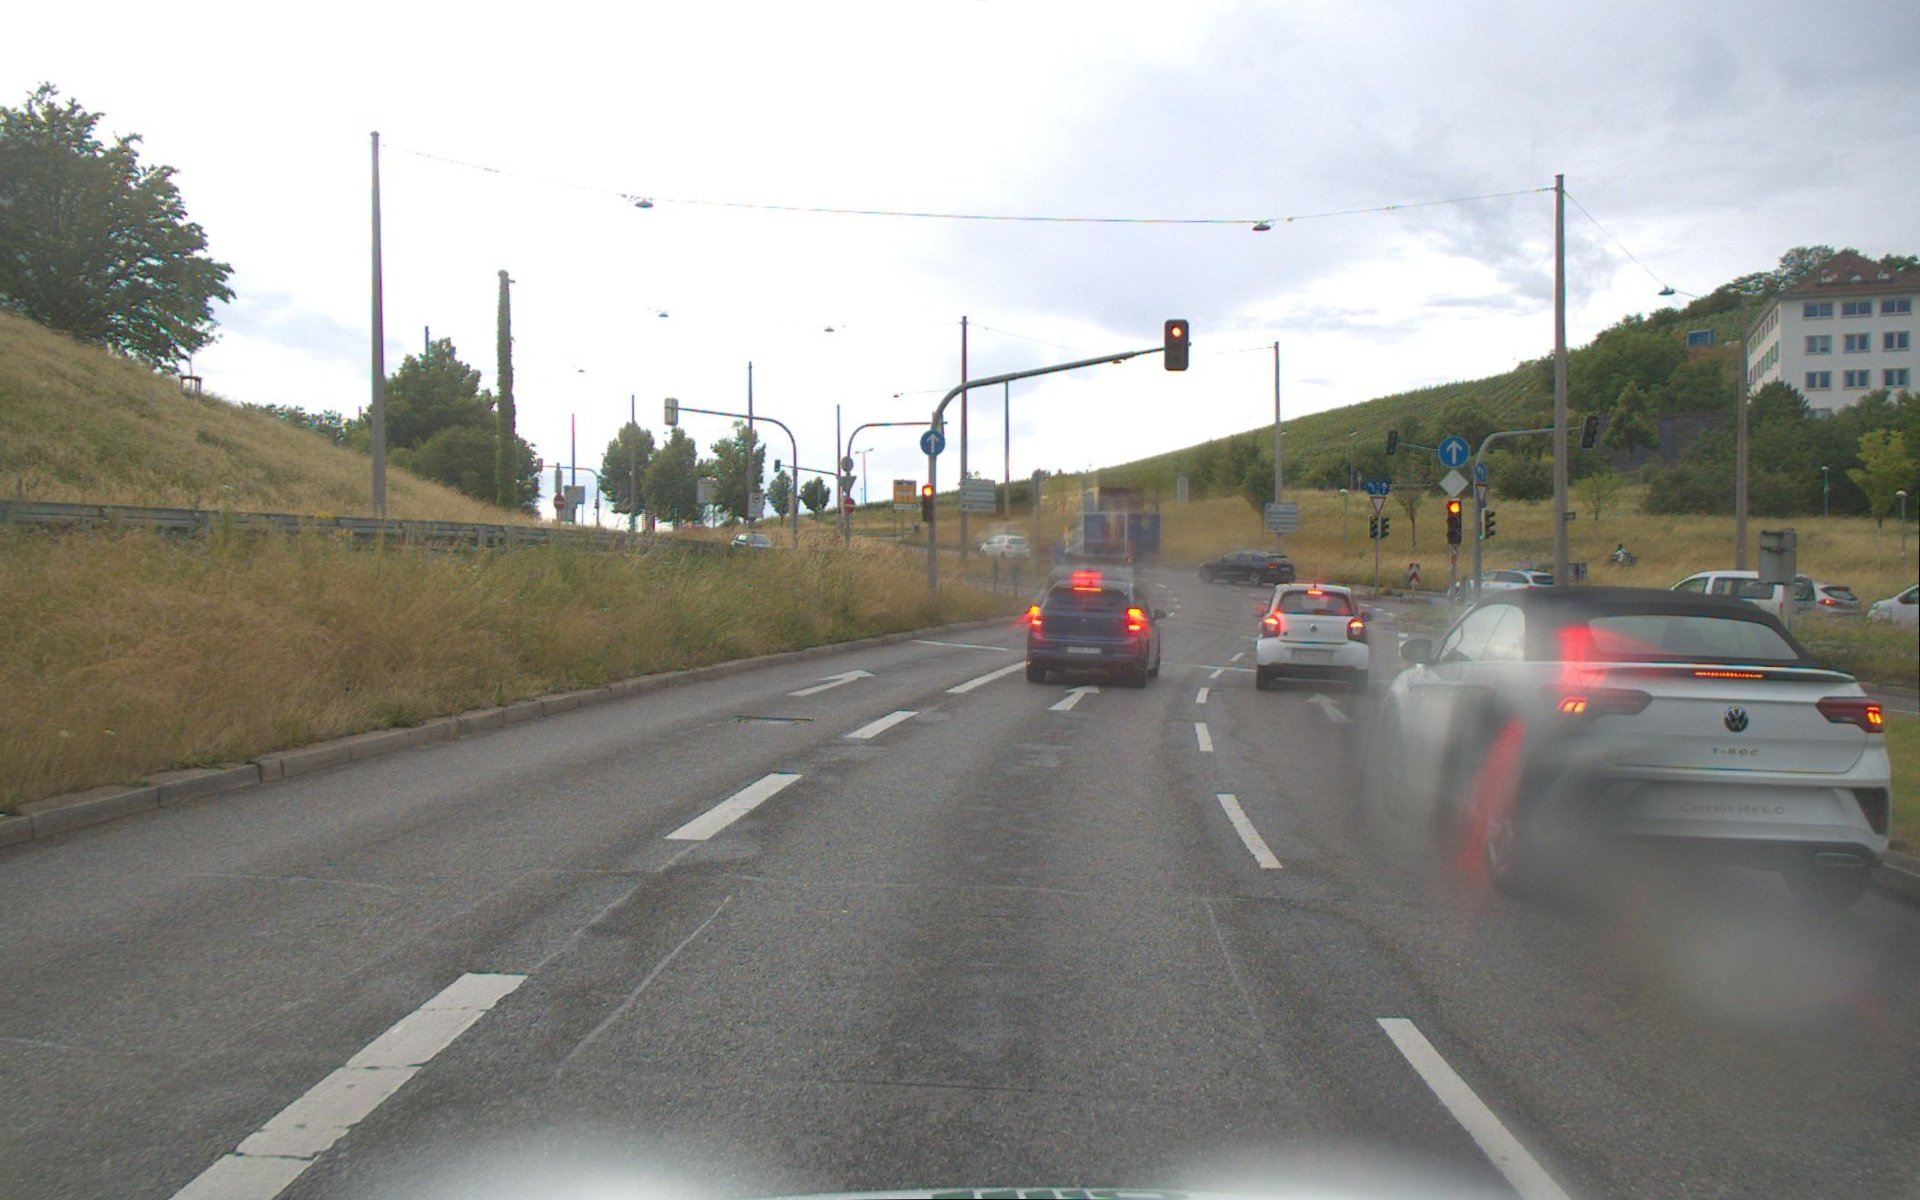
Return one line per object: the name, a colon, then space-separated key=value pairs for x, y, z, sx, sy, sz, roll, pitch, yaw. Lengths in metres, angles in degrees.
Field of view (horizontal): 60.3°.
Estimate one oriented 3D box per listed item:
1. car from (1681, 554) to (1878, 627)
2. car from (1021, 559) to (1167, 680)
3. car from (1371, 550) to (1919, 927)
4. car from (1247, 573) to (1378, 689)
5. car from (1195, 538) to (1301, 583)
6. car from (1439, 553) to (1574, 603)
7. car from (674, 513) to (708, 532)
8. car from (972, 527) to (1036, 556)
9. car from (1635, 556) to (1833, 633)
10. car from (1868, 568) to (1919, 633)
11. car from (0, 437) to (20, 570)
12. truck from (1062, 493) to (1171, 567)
car: x=22.984 y=-0.323 z=46.576 sx=1.975 sy=1.741 sz=4.616 roll=-2 pitch=5 yaw=-32
car: x=2.086 y=0.267 z=24.700 sx=1.885 sy=1.627 sz=4.065 roll=1 pitch=0 yaw=8
car: x=3.772 y=0.593 z=9.471 sx=1.954 sy=1.606 sz=4.127 roll=3 pitch=1 yaw=3
car: x=5.352 y=0.417 z=25.135 sx=1.737 sy=1.545 sz=3.728 roll=3 pitch=1 yaw=12
car: x=12.749 y=-1.778 z=73.405 sx=1.980 sy=1.741 sz=4.503 roll=-3 pitch=5 yaw=-37
car: x=19.749 y=-0.820 z=59.960 sx=1.972 sy=1.633 sz=4.520 roll=0 pitch=3 yaw=-29
car: x=-25.708 y=-7.407 z=158.027 sx=1.970 sy=1.741 sz=4.523 roll=-2 pitch=2 yaw=-27
car: x=2.535 y=-3.440 z=96.246 sx=1.967 sy=1.526 sz=4.531 roll=-1 pitch=4 yaw=-24
car: x=20.891 y=-0.206 z=44.803 sx=1.975 sy=1.741 sz=4.515 roll=-2 pitch=5 yaw=-32
car: x=27.661 y=0.110 z=45.004 sx=1.971 sy=1.722 sz=4.852 roll=1 pitch=3 yaw=-28
car: x=-13.173 y=-1.260 z=19.337 sx=1.675 sy=1.685 sz=4.003 roll=5 pitch=1 yaw=6
truck: x=7.968 y=-3.676 z=84.948 sx=2.813 sy=3.587 sz=6.186 roll=-1 pitch=4 yaw=-25
